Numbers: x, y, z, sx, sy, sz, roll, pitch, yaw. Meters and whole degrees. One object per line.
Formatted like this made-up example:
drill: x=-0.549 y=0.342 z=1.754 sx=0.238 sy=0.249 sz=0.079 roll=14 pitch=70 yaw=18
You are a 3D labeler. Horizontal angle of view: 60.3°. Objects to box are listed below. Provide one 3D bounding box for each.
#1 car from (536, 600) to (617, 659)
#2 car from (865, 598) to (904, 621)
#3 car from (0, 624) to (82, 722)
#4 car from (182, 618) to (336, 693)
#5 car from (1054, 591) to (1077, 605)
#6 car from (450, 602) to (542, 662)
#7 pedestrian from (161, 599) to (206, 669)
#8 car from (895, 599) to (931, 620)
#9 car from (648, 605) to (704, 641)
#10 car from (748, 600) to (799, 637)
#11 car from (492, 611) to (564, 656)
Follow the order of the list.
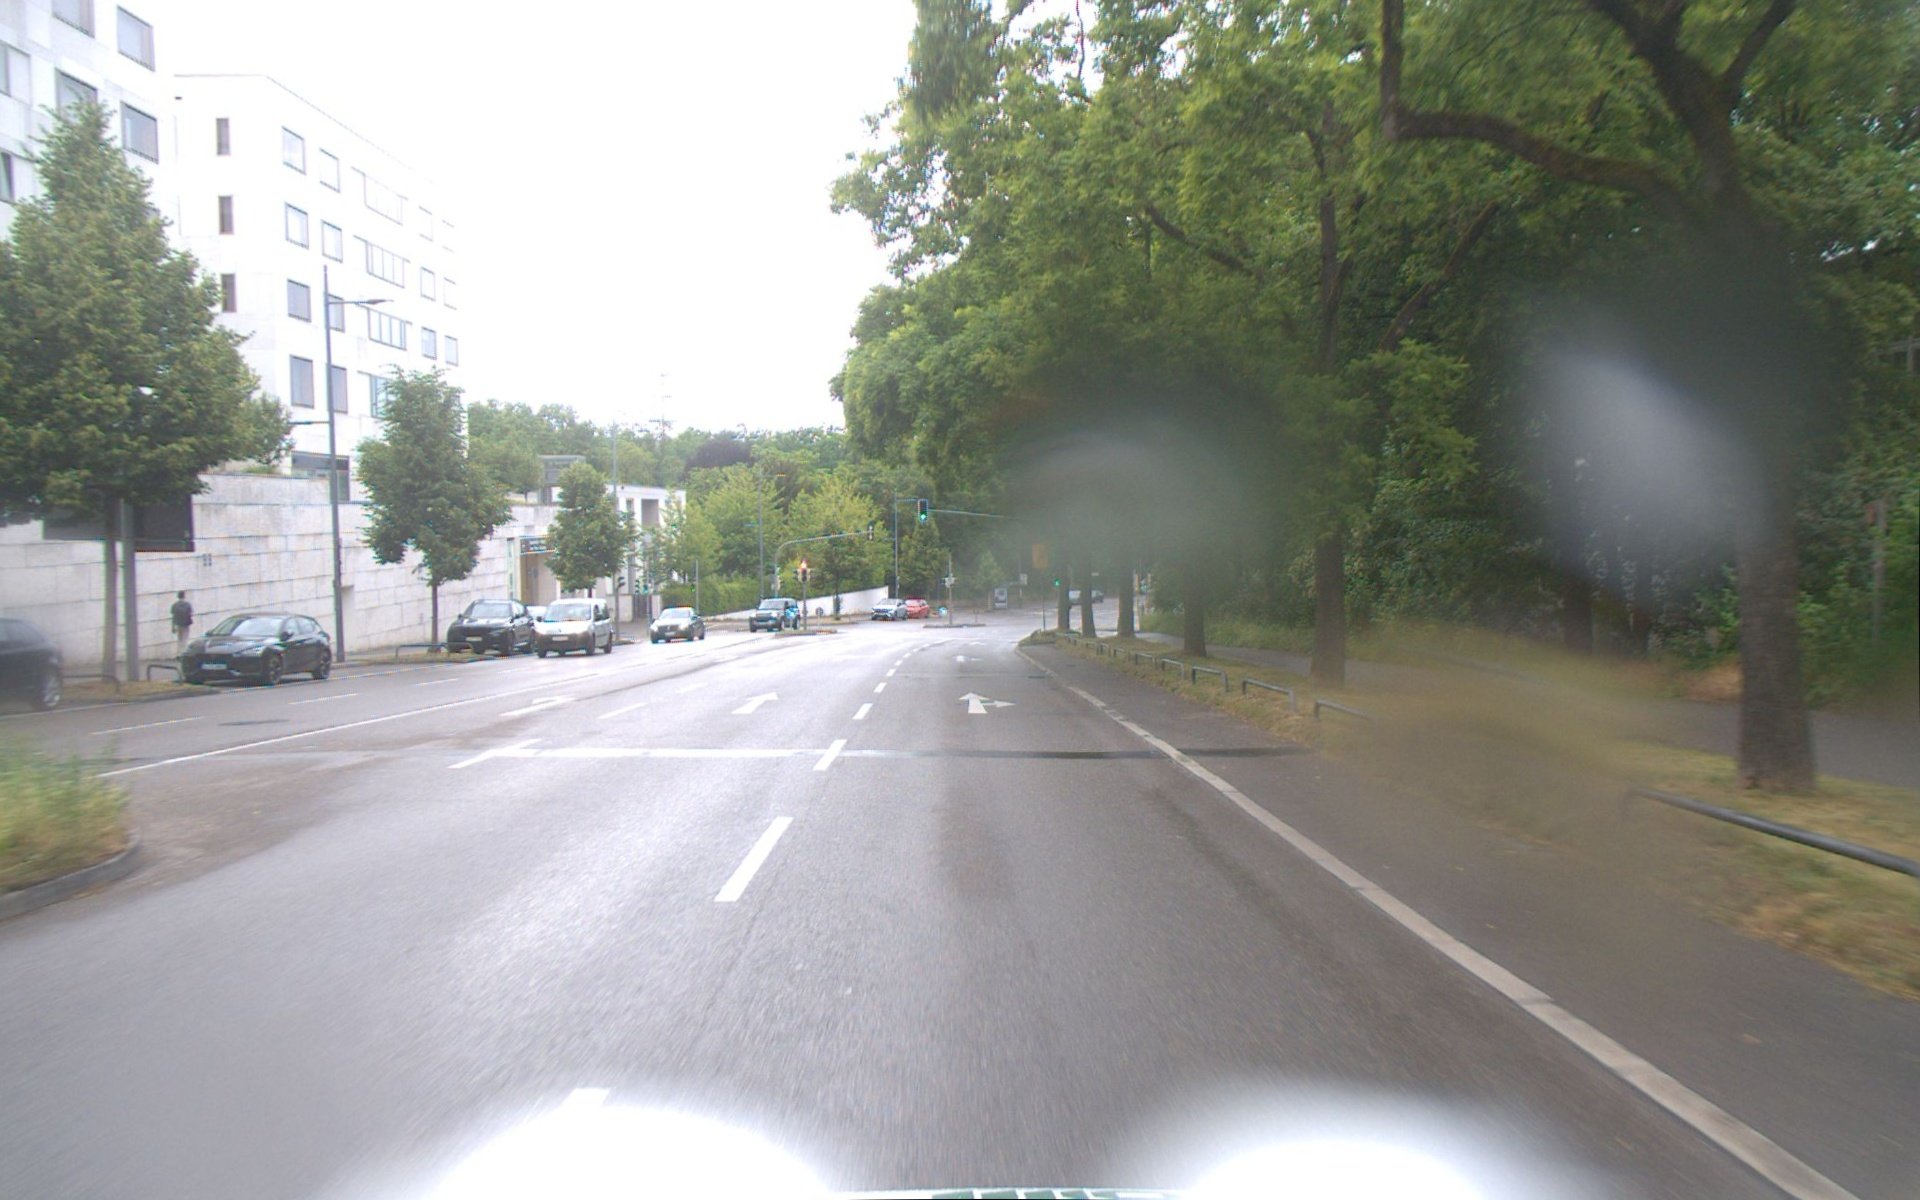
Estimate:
car: x=-12.252 y=0.916 z=53.056 sx=1.675 sy=1.777 sz=4.336 roll=-1 pitch=0 yaw=-2
car: x=-5.883 y=0.743 z=129.341 sx=1.814 sy=1.668 sz=4.096 roll=3 pitch=1 yaw=16
car: x=-14.693 y=1.080 z=24.007 sx=1.660 sy=1.384 sz=4.163 roll=0 pitch=0 yaw=0
car: x=-14.663 y=1.119 z=34.819 sx=1.645 sy=1.451 sz=3.963 roll=0 pitch=0 yaw=-2
car: x=12.067 y=-0.232 z=188.620 sx=1.677 sy=1.486 sz=3.752 roll=1 pitch=0 yaw=18
car: x=-15.026 y=1.004 z=53.755 sx=1.819 sy=1.812 sz=4.594 roll=-1 pitch=0 yaw=-2
pedestrian: x=-20.570 y=0.893 z=43.812 sx=0.693 sy=1.805 sz=1.021 roll=-1 pitch=0 yaw=-1
car: x=-3.845 y=0.792 z=136.299 sx=1.835 sy=1.602 sz=4.226 roll=2 pitch=1 yaw=14
car: x=-12.293 y=0.974 z=71.826 sx=1.734 sy=1.405 sz=4.189 roll=-2 pitch=0 yaw=-1
car: x=-10.915 y=1.062 z=97.061 sx=1.880 sy=1.889 sz=4.510 roll=-4 pitch=0 yaw=7
car: x=-15.435 y=1.187 z=59.226 sx=1.645 sy=1.541 sz=3.709 roll=0 pitch=0 yaw=-1
